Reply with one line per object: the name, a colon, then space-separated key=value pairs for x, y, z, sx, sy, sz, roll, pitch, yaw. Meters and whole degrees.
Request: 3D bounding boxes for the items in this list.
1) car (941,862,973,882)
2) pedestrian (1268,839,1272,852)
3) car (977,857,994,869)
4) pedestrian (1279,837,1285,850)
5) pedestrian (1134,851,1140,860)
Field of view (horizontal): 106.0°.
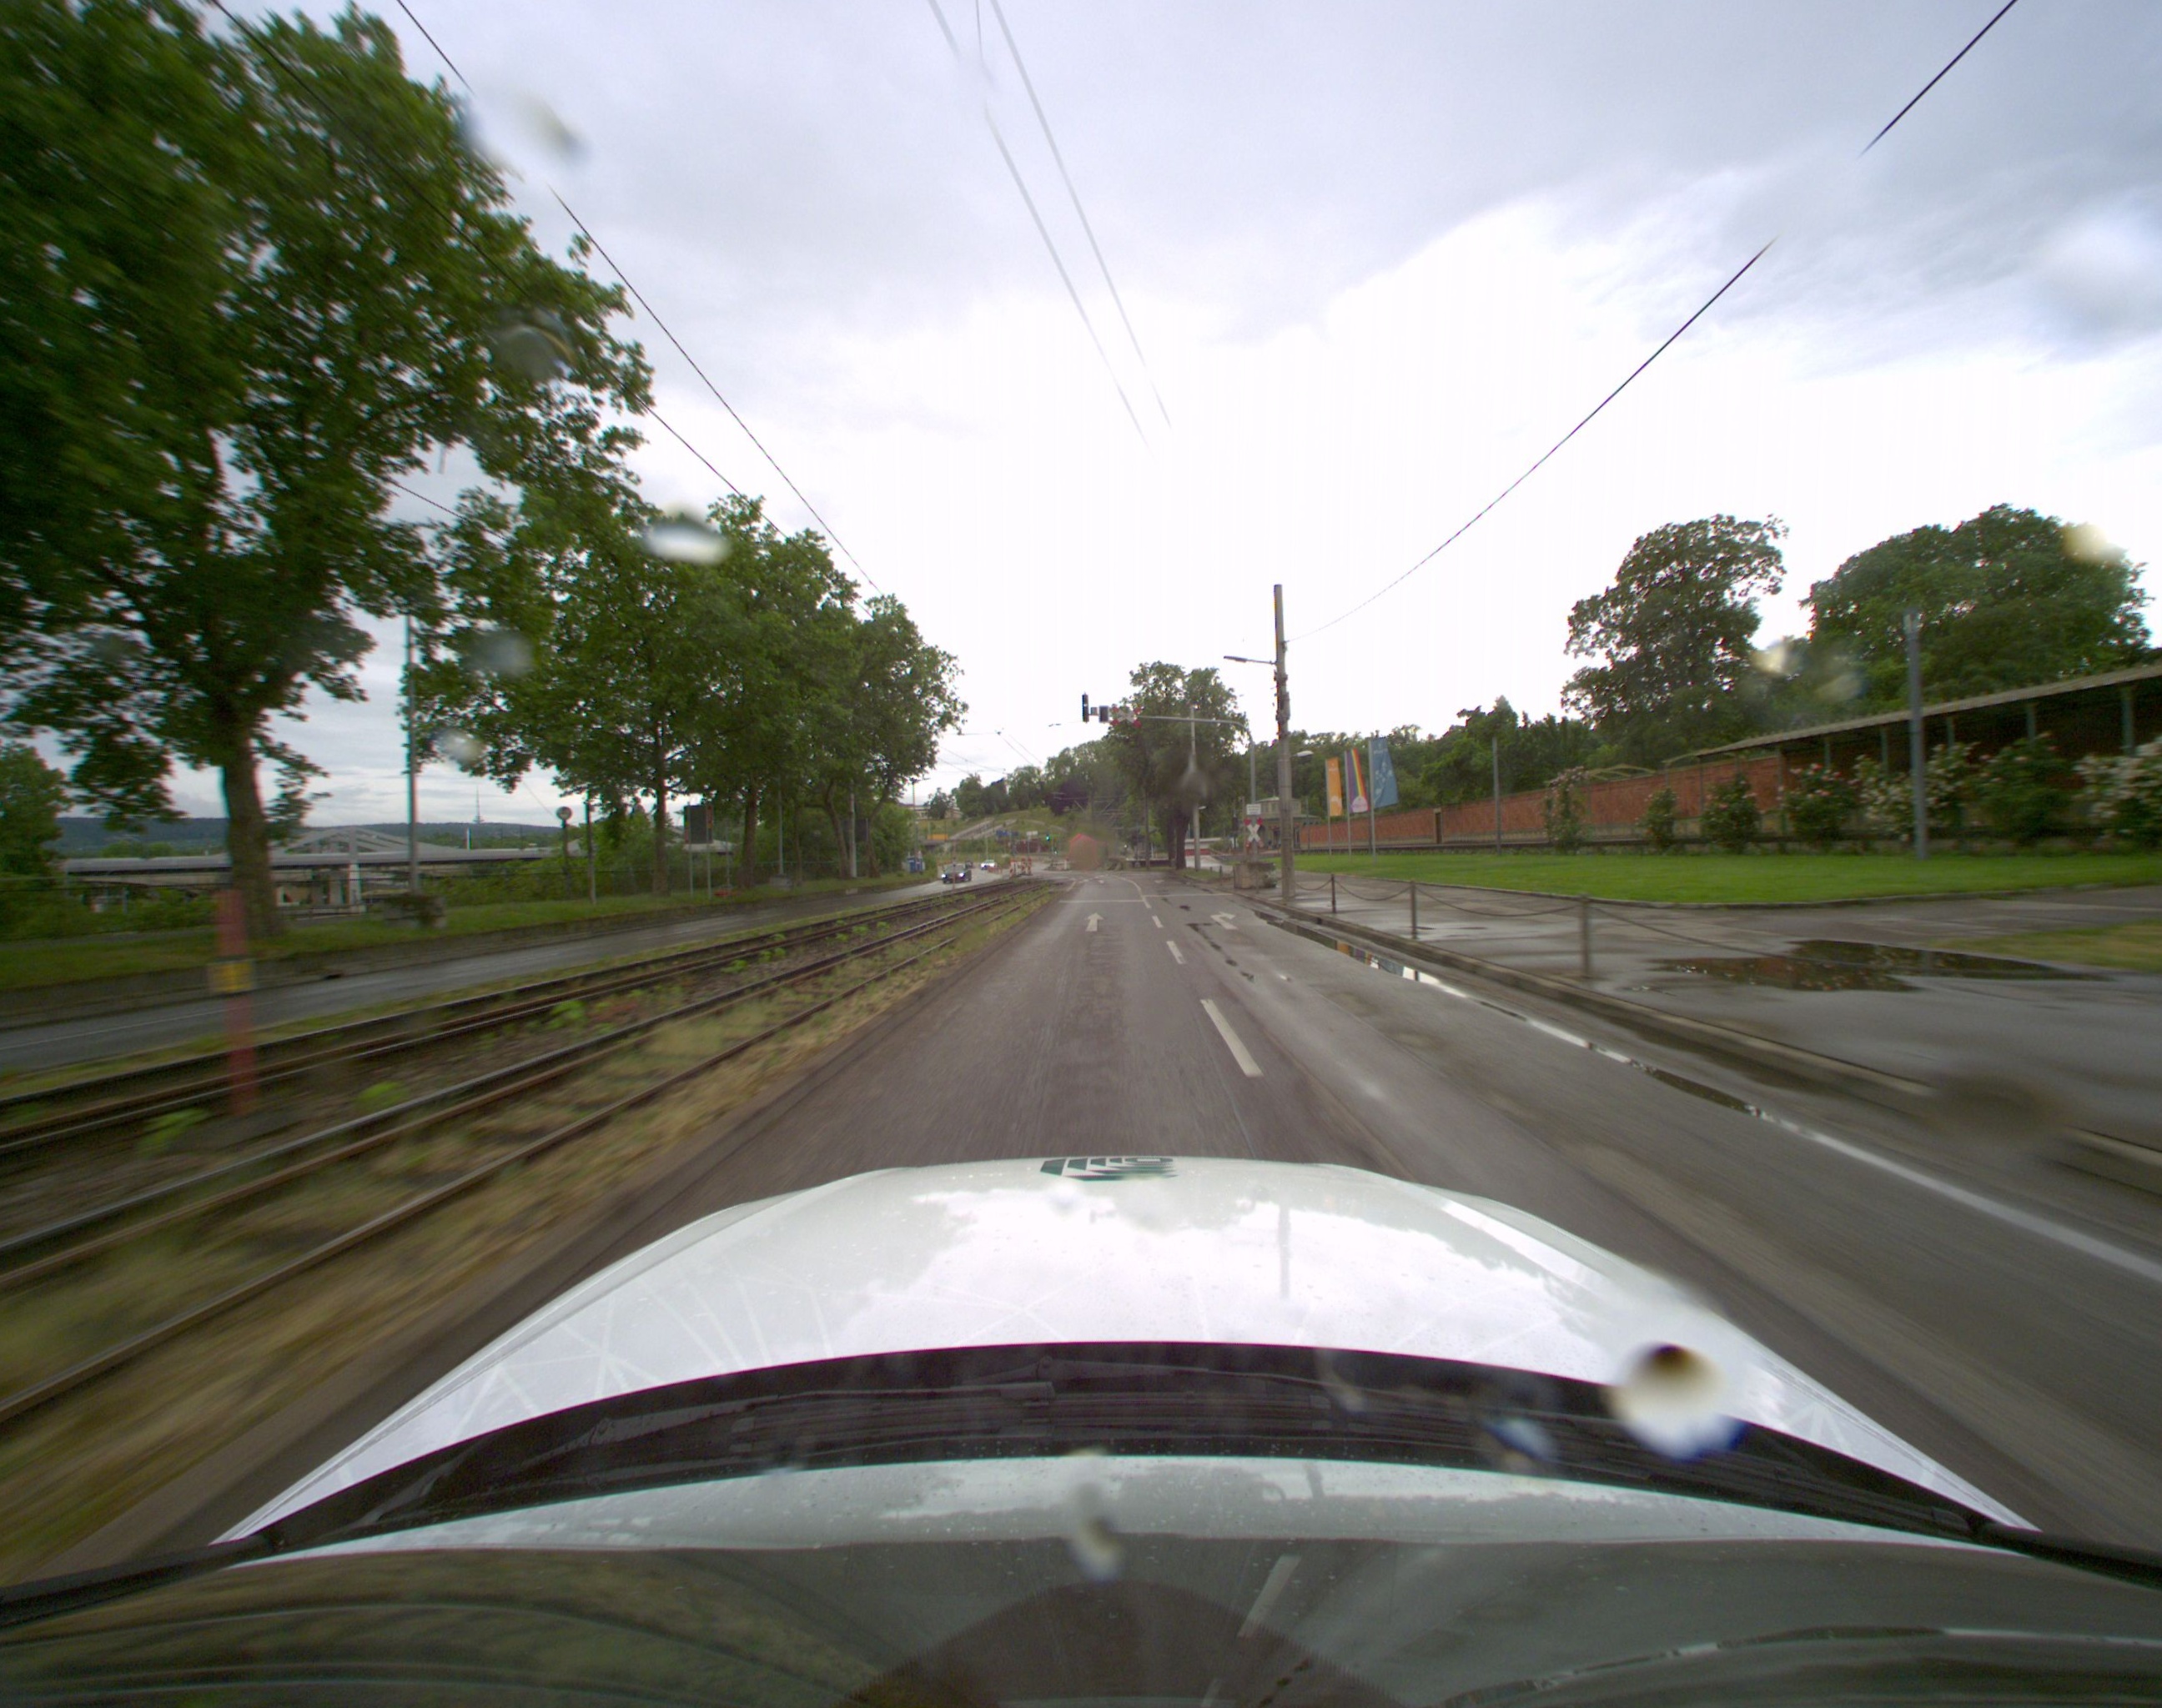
car: x=-10.075 y=1.443 z=66.336 sx=1.740 sy=1.430 sz=4.562 roll=-4 pitch=0 yaw=1
pedestrian: x=25.435 y=-1.181 z=109.740 sx=0.527 sy=1.711 sz=0.698 roll=-1 pitch=-2 yaw=14
car: x=-13.331 y=1.261 z=113.551 sx=1.703 sy=1.498 sz=4.719 roll=-3 pitch=0 yaw=0
pedestrian: x=26.904 y=-1.415 z=108.945 sx=0.544 sy=1.657 sz=0.472 roll=-3 pitch=-1 yaw=37
pedestrian: x=7.072 y=0.175 z=102.238 sx=0.600 sy=1.119 sz=0.518 roll=2 pitch=-1 yaw=-13
